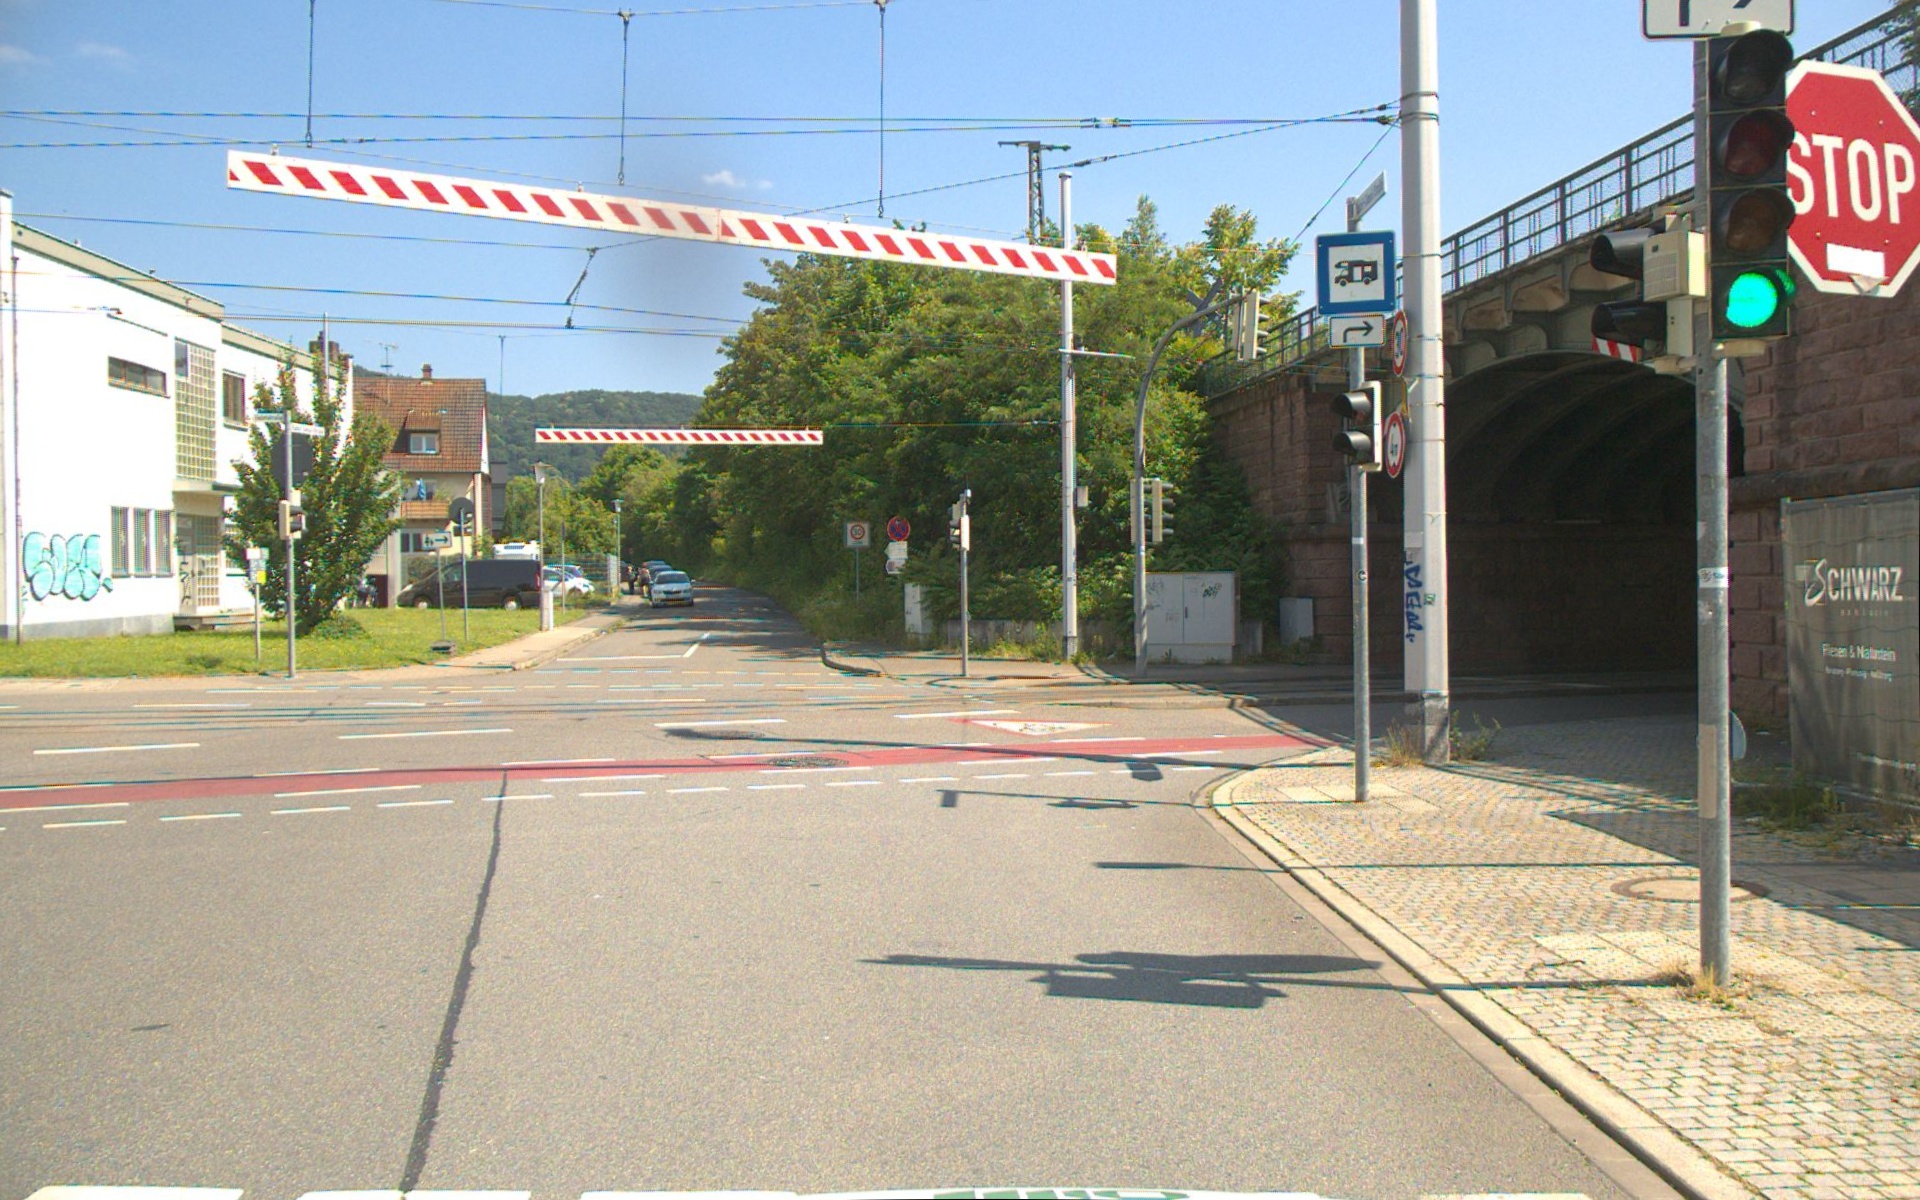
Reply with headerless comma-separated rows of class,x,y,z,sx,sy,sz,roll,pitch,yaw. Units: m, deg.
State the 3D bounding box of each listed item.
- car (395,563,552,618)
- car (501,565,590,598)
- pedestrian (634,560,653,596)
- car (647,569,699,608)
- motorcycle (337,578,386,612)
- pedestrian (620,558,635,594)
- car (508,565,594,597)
car,-17.428,-0.356,59.431,5.152,1.848,1.995,-1,1,-10
car,-18.416,-0.815,73.541,3.650,1.395,1.602,1,-1,-8
pedestrian,-16.071,-1.114,84.025,0.860,1.793,0.729,1,-1,-9
car,-12.284,-0.502,71.000,2.048,1.536,4.531,1,1,-8
motorcycle,-19.249,-0.161,53.288,0.835,1.050,2.564,1,-1,-5
pedestrian,-16.885,-1.199,83.997,0.642,1.793,0.802,1,-1,-9
car,-18.814,-0.855,76.165,3.650,1.395,1.602,1,0,-8
